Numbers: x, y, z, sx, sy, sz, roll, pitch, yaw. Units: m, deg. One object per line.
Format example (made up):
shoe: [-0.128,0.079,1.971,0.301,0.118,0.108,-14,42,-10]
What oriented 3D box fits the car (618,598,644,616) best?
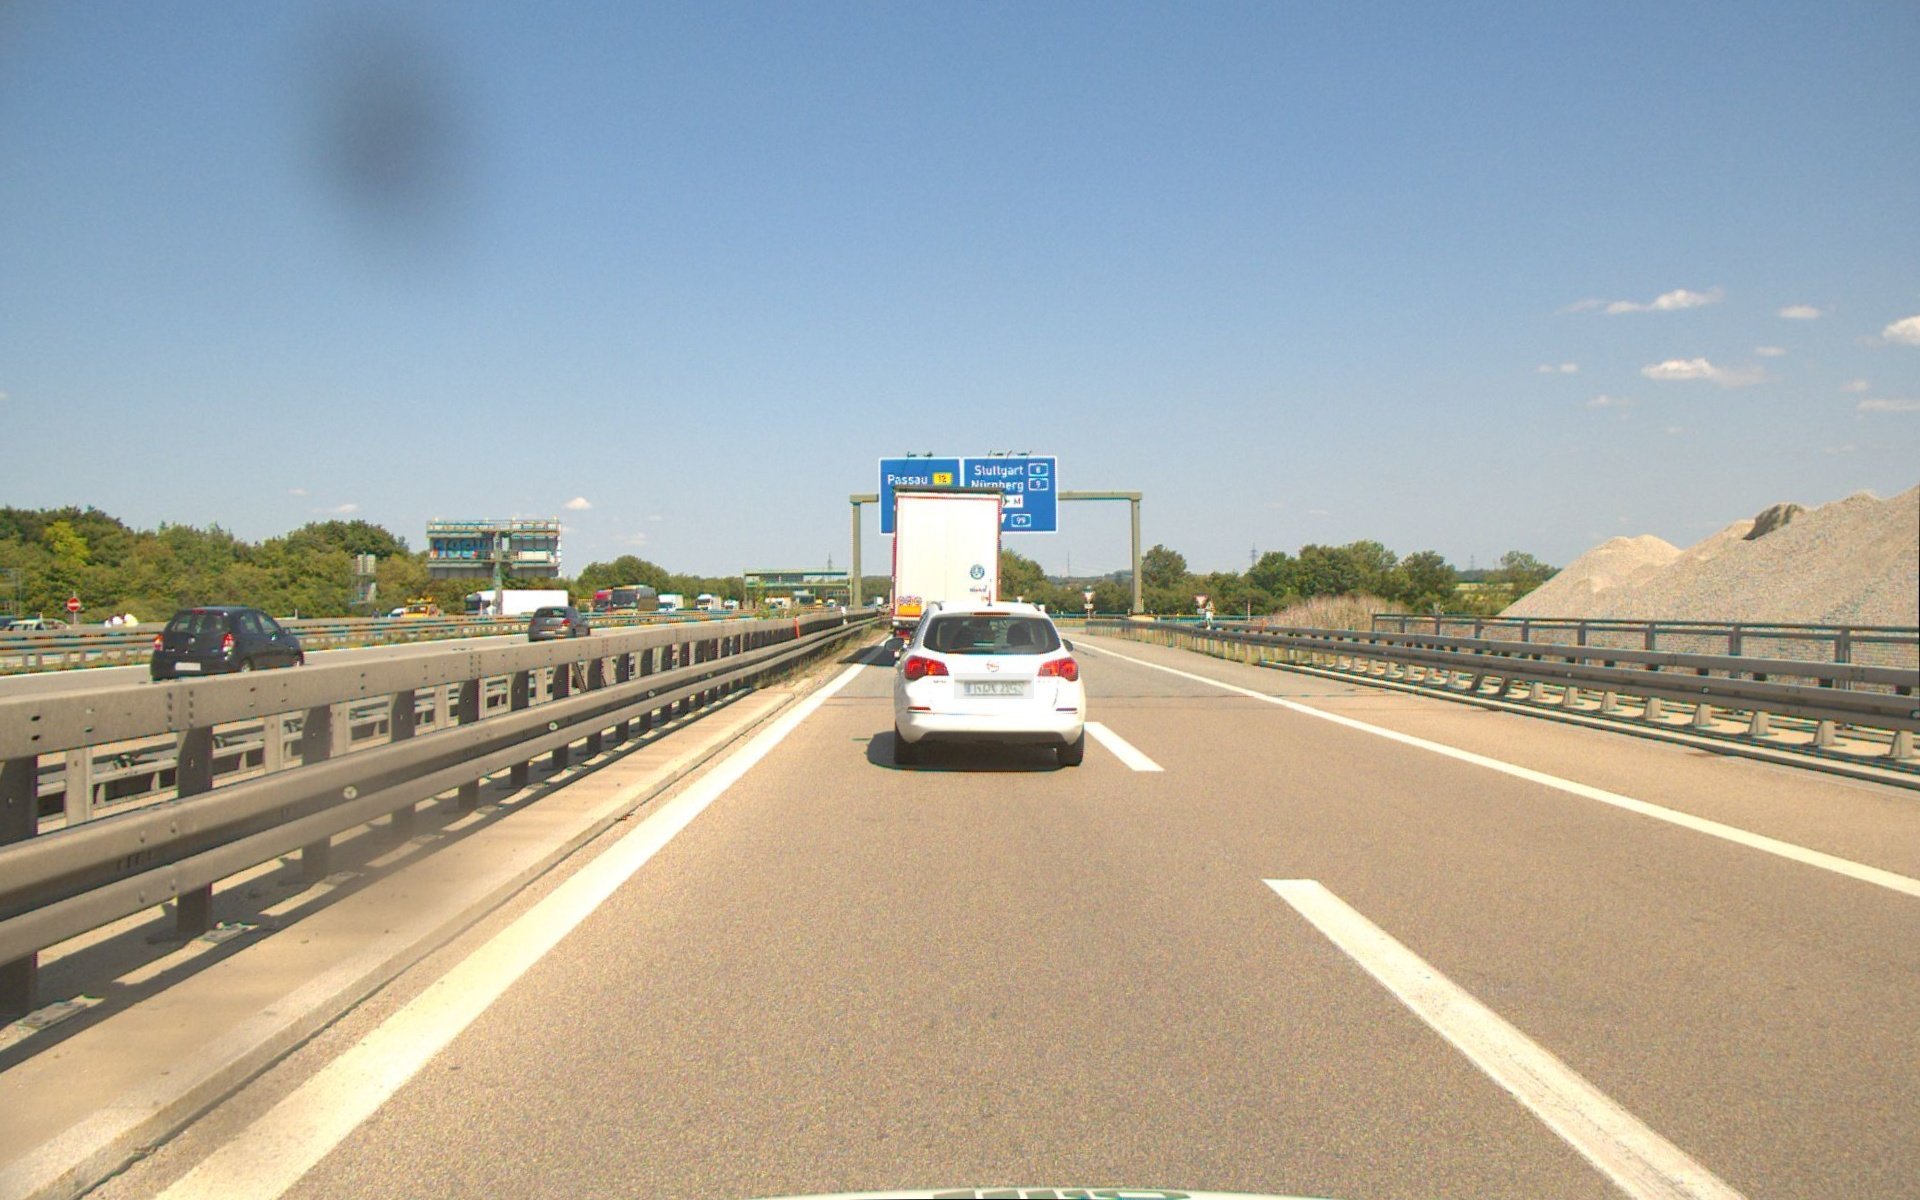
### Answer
car: [-31.751,0.649,159.712,1.752,1.668,3.999,0,0,-1]

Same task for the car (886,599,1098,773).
car: [0.244,0.734,16.392,1.816,1.468,4.371,1,0,-1]

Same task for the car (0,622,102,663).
car: [-37.520,1.721,68.360,1.800,1.544,4.530,0,0,-1]

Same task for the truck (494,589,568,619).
truck: [-49.639,0.401,191.836,1.952,3.358,12.176,0,0,18]

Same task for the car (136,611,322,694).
car: [-13.963,0.960,31.867,1.792,1.458,4.216,0,0,-1]

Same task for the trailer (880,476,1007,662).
trailer: [-0.447,-0.644,43.365,2.853,4.218,11.255,1,-1,-1]

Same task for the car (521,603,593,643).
car: [-15.104,0.831,62.128,1.727,1.447,4.215,0,0,-1]

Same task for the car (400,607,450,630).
car: [-36.855,1.246,114.058,1.800,1.544,5.296,0,0,-1]

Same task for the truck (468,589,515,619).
truck: [-52.239,0.450,184.558,1.954,3.358,5.383,0,0,25]
